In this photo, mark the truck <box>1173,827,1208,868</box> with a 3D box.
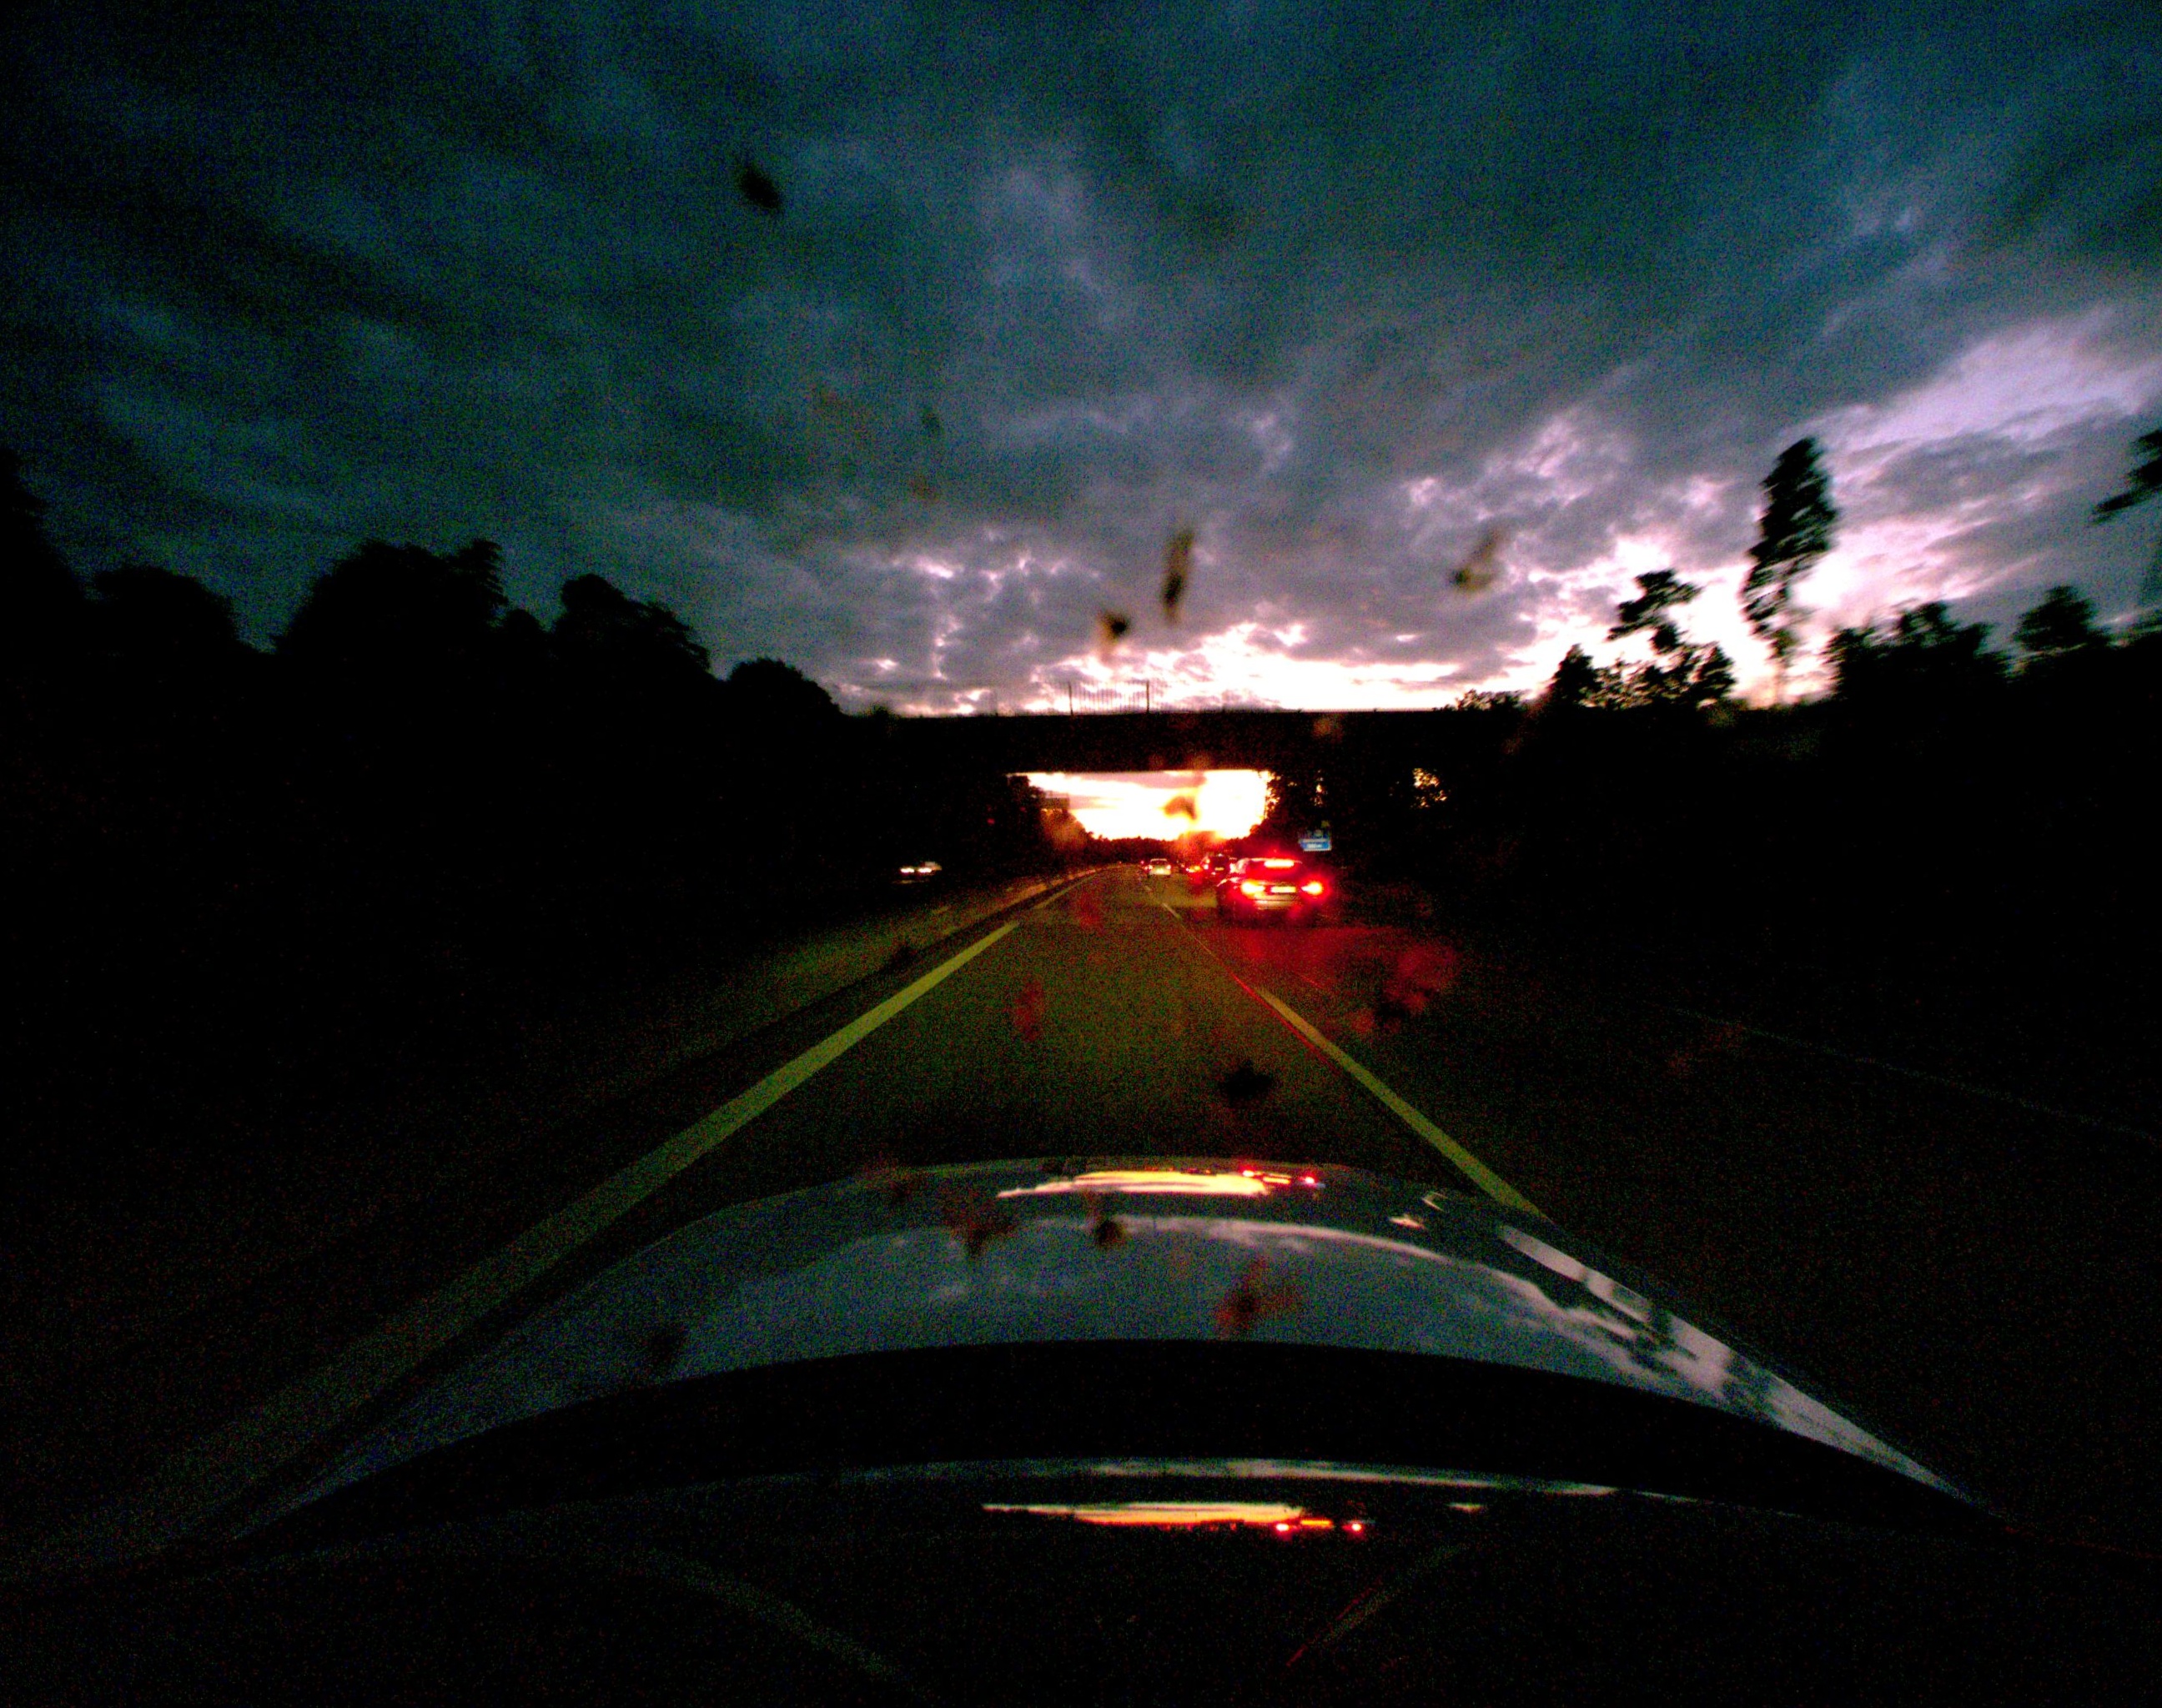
[{"bbox_3d":[11.696,-0.550,87.961,2.872,4.101,10.840,-1,-1,4],"label":"truck"}]

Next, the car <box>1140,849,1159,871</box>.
[{"bbox_3d":[8.185,0.763,97.759,2.157,2.419,5.568,-1,-1,3],"label":"car"}]

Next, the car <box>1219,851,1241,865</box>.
[{"bbox_3d":[16.421,0.491,89.837,1.851,1.442,4.115,-1,-1,4],"label":"car"}]

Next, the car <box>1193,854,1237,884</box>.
[{"bbox_3d":[7.776,0.834,47.700,1.895,1.643,5.054,-1,-1,2],"label":"car"}]

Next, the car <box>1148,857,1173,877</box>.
[{"bbox_3d":[6.073,0.985,62.374,1.851,1.442,3.725,-1,1,4],"label":"car"}]

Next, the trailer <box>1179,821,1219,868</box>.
[{"bbox_3d":[11.041,-0.757,77.385,2.895,4.101,10.366,-1,-1,4],"label":"trailer"}]

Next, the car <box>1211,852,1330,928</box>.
[{"bbox_3d":[4.433,0.759,19.884,1.901,1.537,5.235,-1,1,3],"label":"car"}]

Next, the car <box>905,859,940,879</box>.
[{"bbox_3d":[-13.129,1.234,67.665,1.804,1.520,4.432,-1,1,2],"label":"car"}]
